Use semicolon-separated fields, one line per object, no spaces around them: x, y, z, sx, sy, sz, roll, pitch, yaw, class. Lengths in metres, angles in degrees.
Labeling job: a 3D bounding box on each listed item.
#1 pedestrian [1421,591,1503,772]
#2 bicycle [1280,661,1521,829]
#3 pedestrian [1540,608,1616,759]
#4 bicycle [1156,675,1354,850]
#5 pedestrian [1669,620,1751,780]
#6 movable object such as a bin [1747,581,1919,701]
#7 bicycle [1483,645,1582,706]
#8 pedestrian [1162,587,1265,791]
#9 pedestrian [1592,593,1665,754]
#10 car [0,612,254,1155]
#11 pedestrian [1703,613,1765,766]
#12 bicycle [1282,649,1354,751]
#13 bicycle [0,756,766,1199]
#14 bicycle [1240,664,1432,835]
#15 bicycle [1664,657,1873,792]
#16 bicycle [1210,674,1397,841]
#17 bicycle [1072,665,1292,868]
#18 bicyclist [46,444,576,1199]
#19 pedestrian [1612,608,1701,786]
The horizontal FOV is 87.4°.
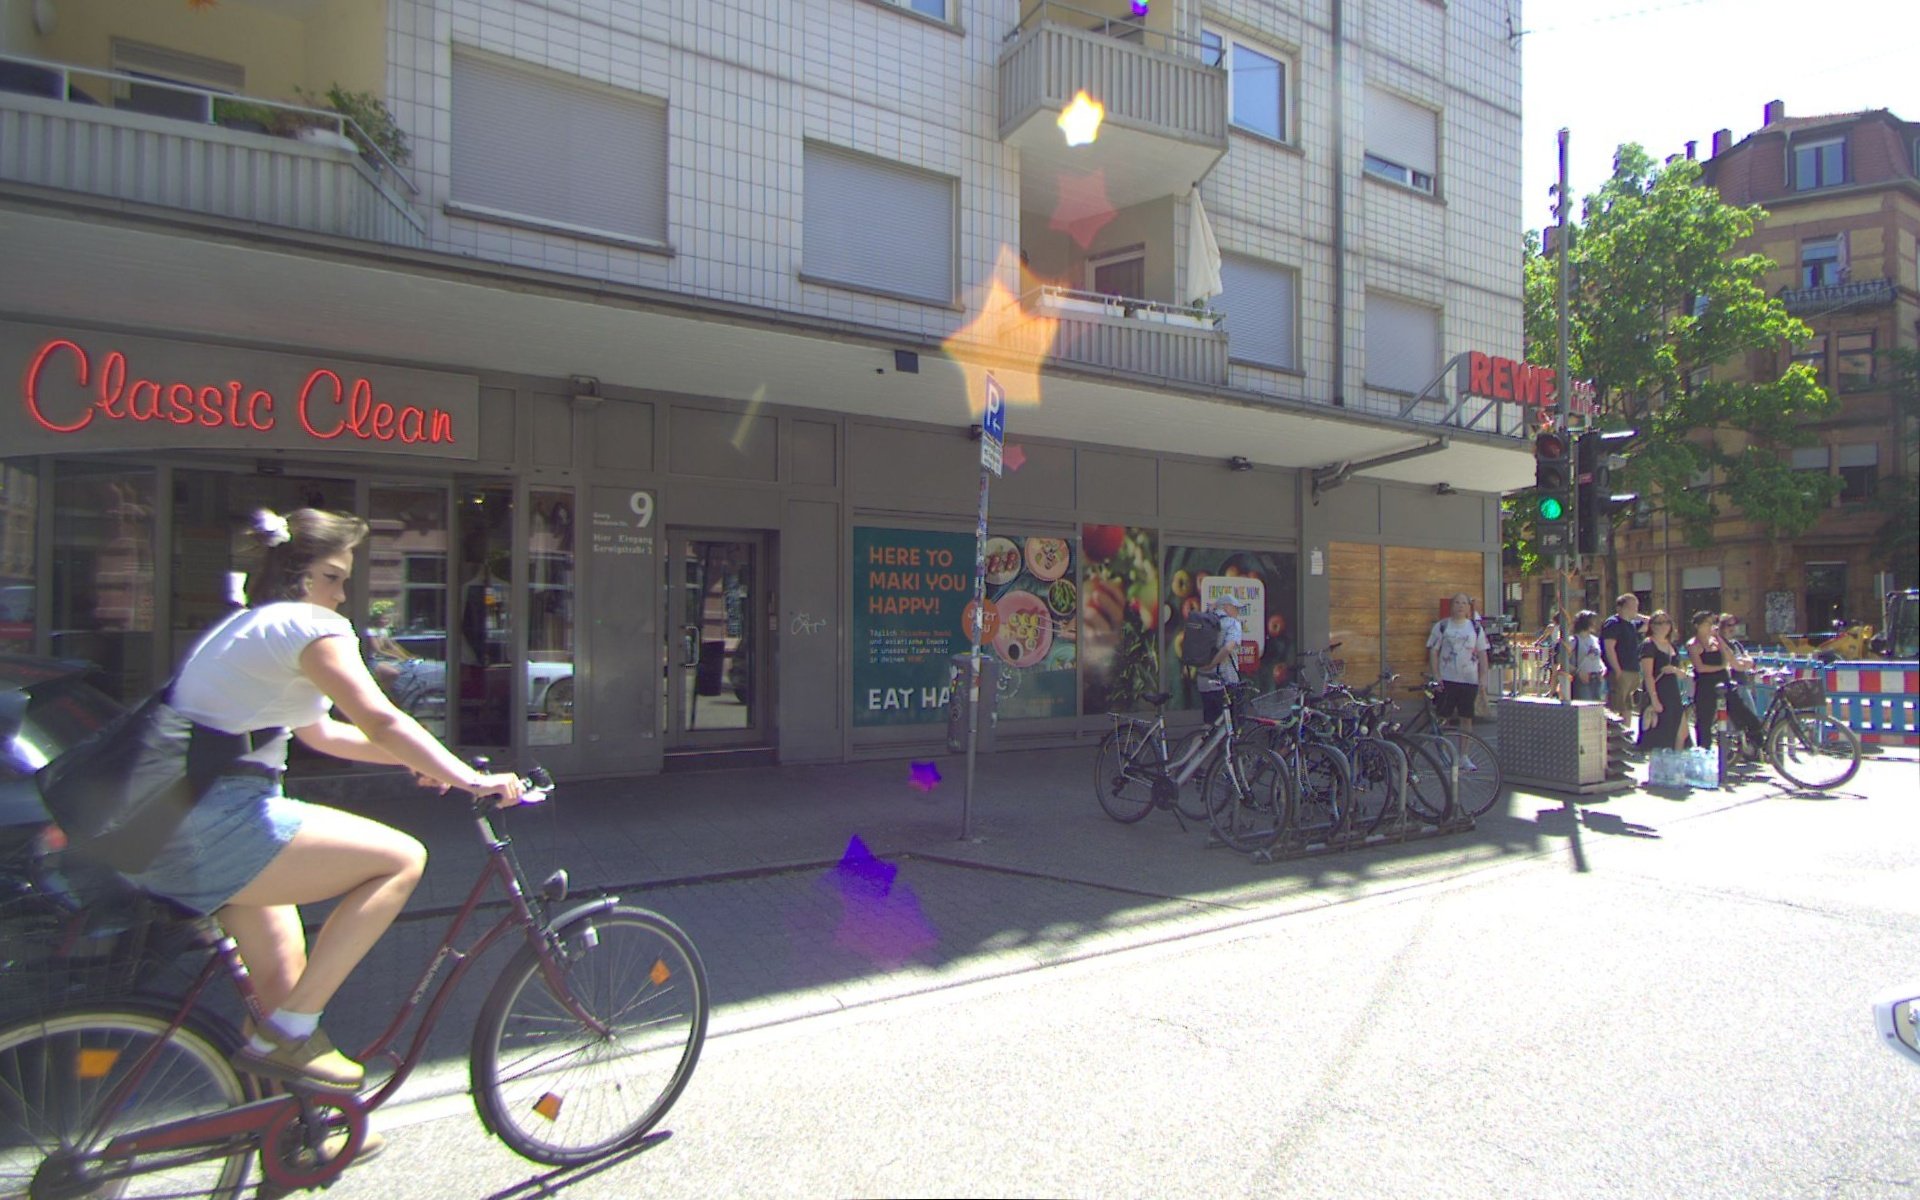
5.167;0.822;10.348;0.593;1.794;0.506;1;-2;-32;pedestrian
3.601;1.131;8.358;0.572;1.138;1.786;1;0;-35;bicycle
6.995;0.923;11.373;0.593;1.654;0.506;1;-2;-32;pedestrian
2.132;1.140;7.426;0.394;1.044;1.485;1;0;-33;bicycle
7.686;1.008;10.307;0.450;1.586;0.497;0;0;-4;pedestrian
21.773;0.936;23.801;1.933;2.694;4.519;1;0;-31;movable object such as a bin
10.645;1.381;18.721;1.553;1.086;0.340;-2;-3;44;bicycle
2.287;0.780;9.077;0.650;1.749;0.627;1;-2;-30;pedestrian
7.964;0.859;11.966;0.593;1.844;0.506;1;-2;-32;pedestrian
-4.705;0.797;2.703;4.410;1.545;1.662;1;-1;-30;car
8.546;0.968;11.091;0.470;1.639;0.387;1;-2;-32;pedestrian
4.292;1.162;12.004;0.317;1.101;1.425;-1;-1;41;bicycle
-1.484;1.044;2.478;1.923;1.106;0.598;1;-2;-38;bicycle
2.944;1.131;8.008;0.332;1.132;1.510;1;0;-33;bicycle
8.032;1.190;10.092;0.459;1.134;1.808;0;0;-8;bicycle
2.584;1.150;7.697;0.332;1.050;1.439;1;0;-33;bicycle
1.506;1.089;7.066;0.521;1.154;1.574;1;0;-33;bicycle
-1.529;0.575;2.477;0.969;1.729;0.619;1;-2;-34;bicyclist
6.763;0.919;9.756;0.506;1.654;0.538;1;-2;-32;pedestrian
